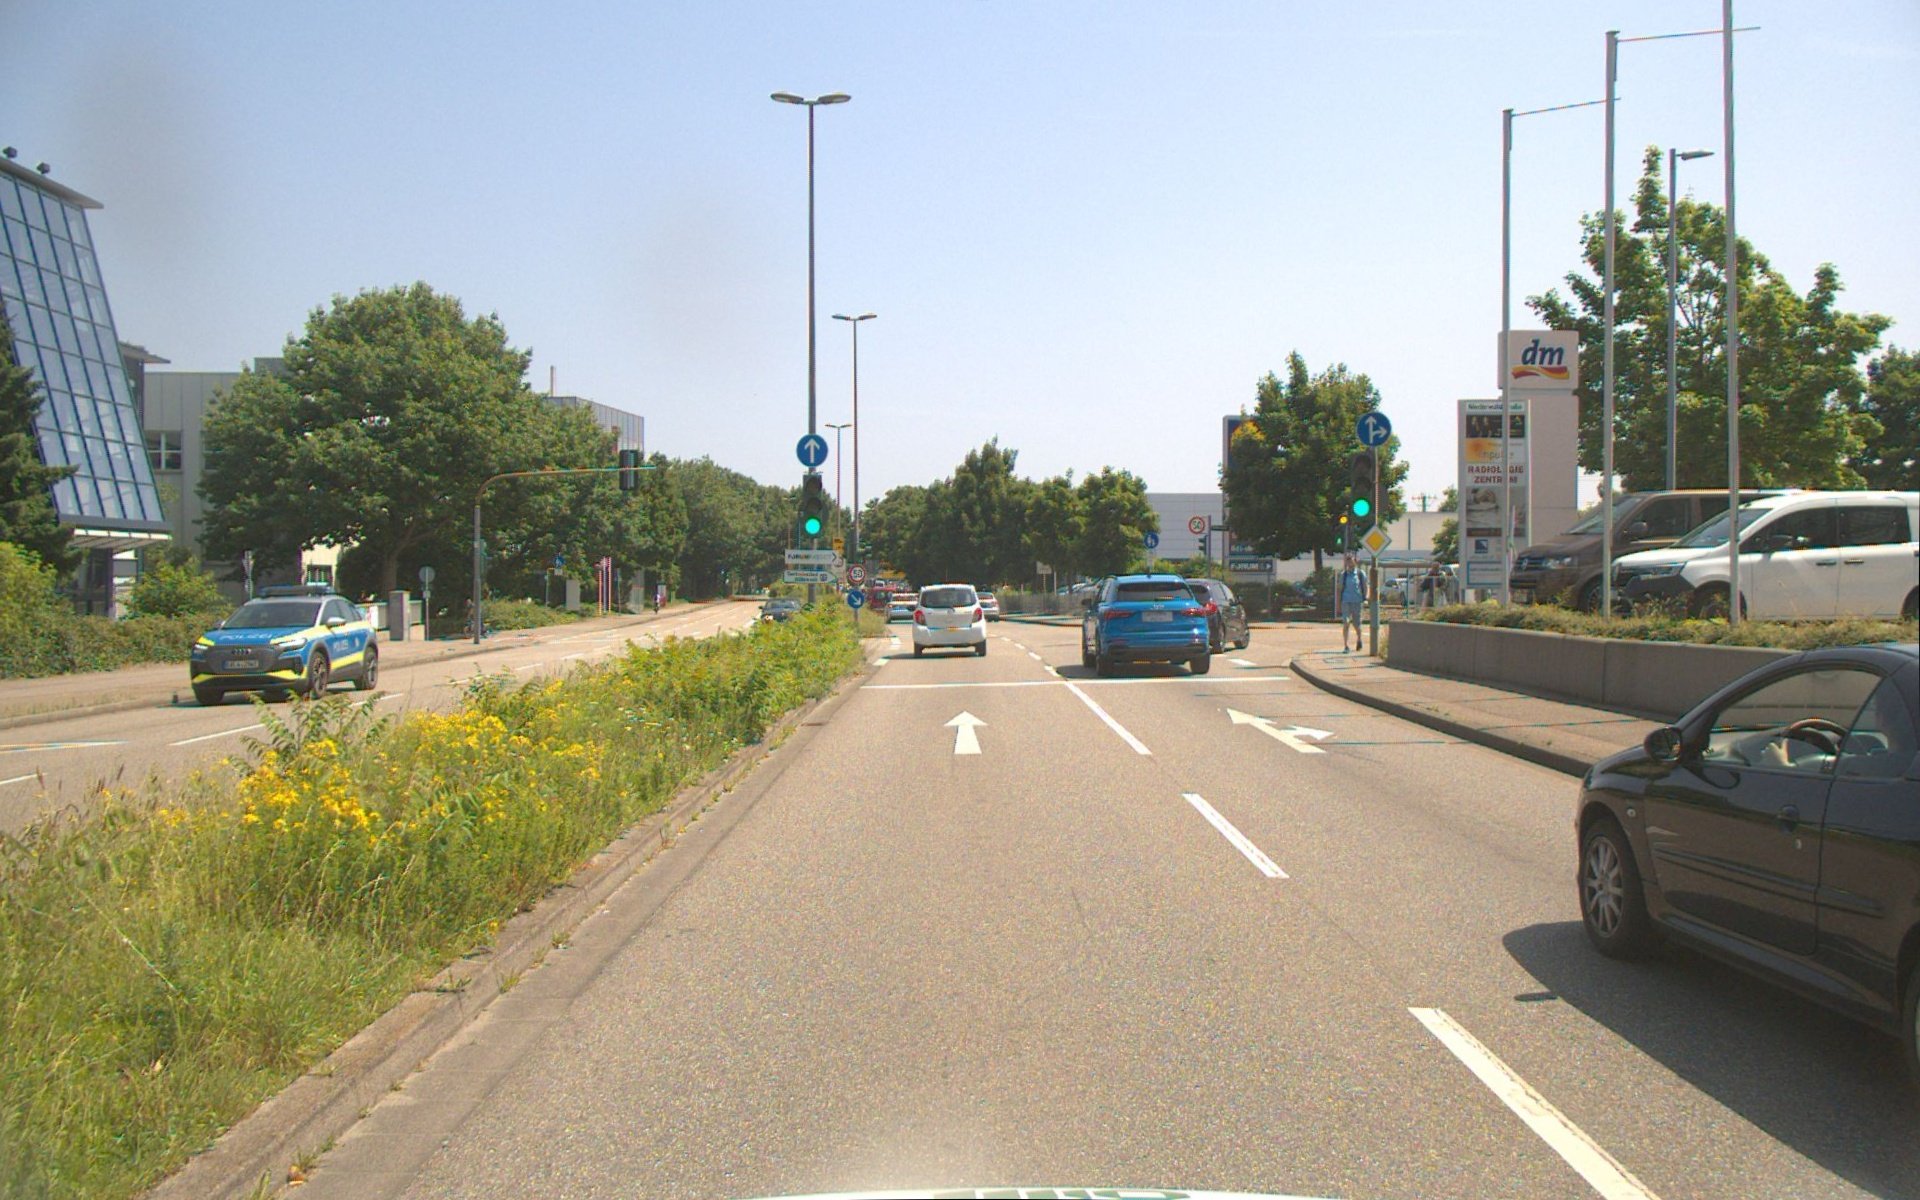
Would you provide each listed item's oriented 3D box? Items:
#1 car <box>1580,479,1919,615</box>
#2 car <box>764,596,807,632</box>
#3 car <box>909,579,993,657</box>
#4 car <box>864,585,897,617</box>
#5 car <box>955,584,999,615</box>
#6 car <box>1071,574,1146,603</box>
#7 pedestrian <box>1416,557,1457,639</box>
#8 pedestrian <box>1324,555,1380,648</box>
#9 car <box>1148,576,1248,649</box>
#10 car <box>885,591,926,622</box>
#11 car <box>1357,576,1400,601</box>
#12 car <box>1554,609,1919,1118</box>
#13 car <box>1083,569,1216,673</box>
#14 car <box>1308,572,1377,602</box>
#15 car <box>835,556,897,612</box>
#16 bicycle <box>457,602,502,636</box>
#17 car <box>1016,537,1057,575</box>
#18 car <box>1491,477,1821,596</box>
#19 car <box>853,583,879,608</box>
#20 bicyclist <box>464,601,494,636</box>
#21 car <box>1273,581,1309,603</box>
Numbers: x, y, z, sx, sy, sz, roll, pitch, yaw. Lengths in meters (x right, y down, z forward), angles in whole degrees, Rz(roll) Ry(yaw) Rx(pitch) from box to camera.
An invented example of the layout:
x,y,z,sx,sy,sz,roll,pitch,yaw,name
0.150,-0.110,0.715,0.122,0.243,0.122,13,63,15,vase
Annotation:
x,y,z,sx,sy,sz,roll,pitch,yaw,name
10.344,-0.656,20.870,4.260,1.571,1.999,-1,0,-4,car
-6.598,0.525,62.439,1.544,1.291,3.725,-1,0,-6,car
-0.204,0.356,36.706,1.712,1.546,3.746,-2,1,0,car
-4.533,0.042,93.628,1.741,1.770,3.996,-1,0,-5,car
0.778,-0.027,80.197,1.953,1.445,3.999,-1,0,-2,car
8.244,-0.641,91.951,3.911,1.512,1.648,-1,0,-7,car
10.137,-0.039,35.214,0.641,1.715,0.748,0,0,-2,pedestrian
7.112,0.025,29.970,0.759,1.636,1.084,0,0,26,pedestrian
4.897,0.230,33.741,1.427,1.400,3.493,0,0,18,car
-2.641,0.290,79.983,1.953,1.467,3.998,-1,0,-2,car
22.435,-0.606,88.765,1.473,1.284,3.165,-1,0,0,car
3.563,0.796,5.783,1.594,1.387,3.605,1,1,-1,car
3.106,0.293,27.734,1.790,1.607,3.605,0,1,-1,car
19.221,-0.649,83.108,1.495,1.489,3.118,-1,0,-41,car
-3.027,-0.539,52.643,1.784,1.690,3.996,0,2,-6,car
-21.994,0.862,75.783,0.889,1.528,2.476,-1,0,12,bicycle
4.210,-2.425,91.901,1.735,2.048,3.987,-1,1,-5,car
9.960,-0.893,23.862,3.908,1.571,1.999,-1,0,-4,car
-6.676,-0.330,118.004,1.761,1.719,3.999,-1,0,-2,car
-22.016,0.836,75.695,0.889,1.600,1.026,-1,0,13,bicyclist
19.821,-0.470,99.121,1.473,1.284,3.165,-1,0,0,car
